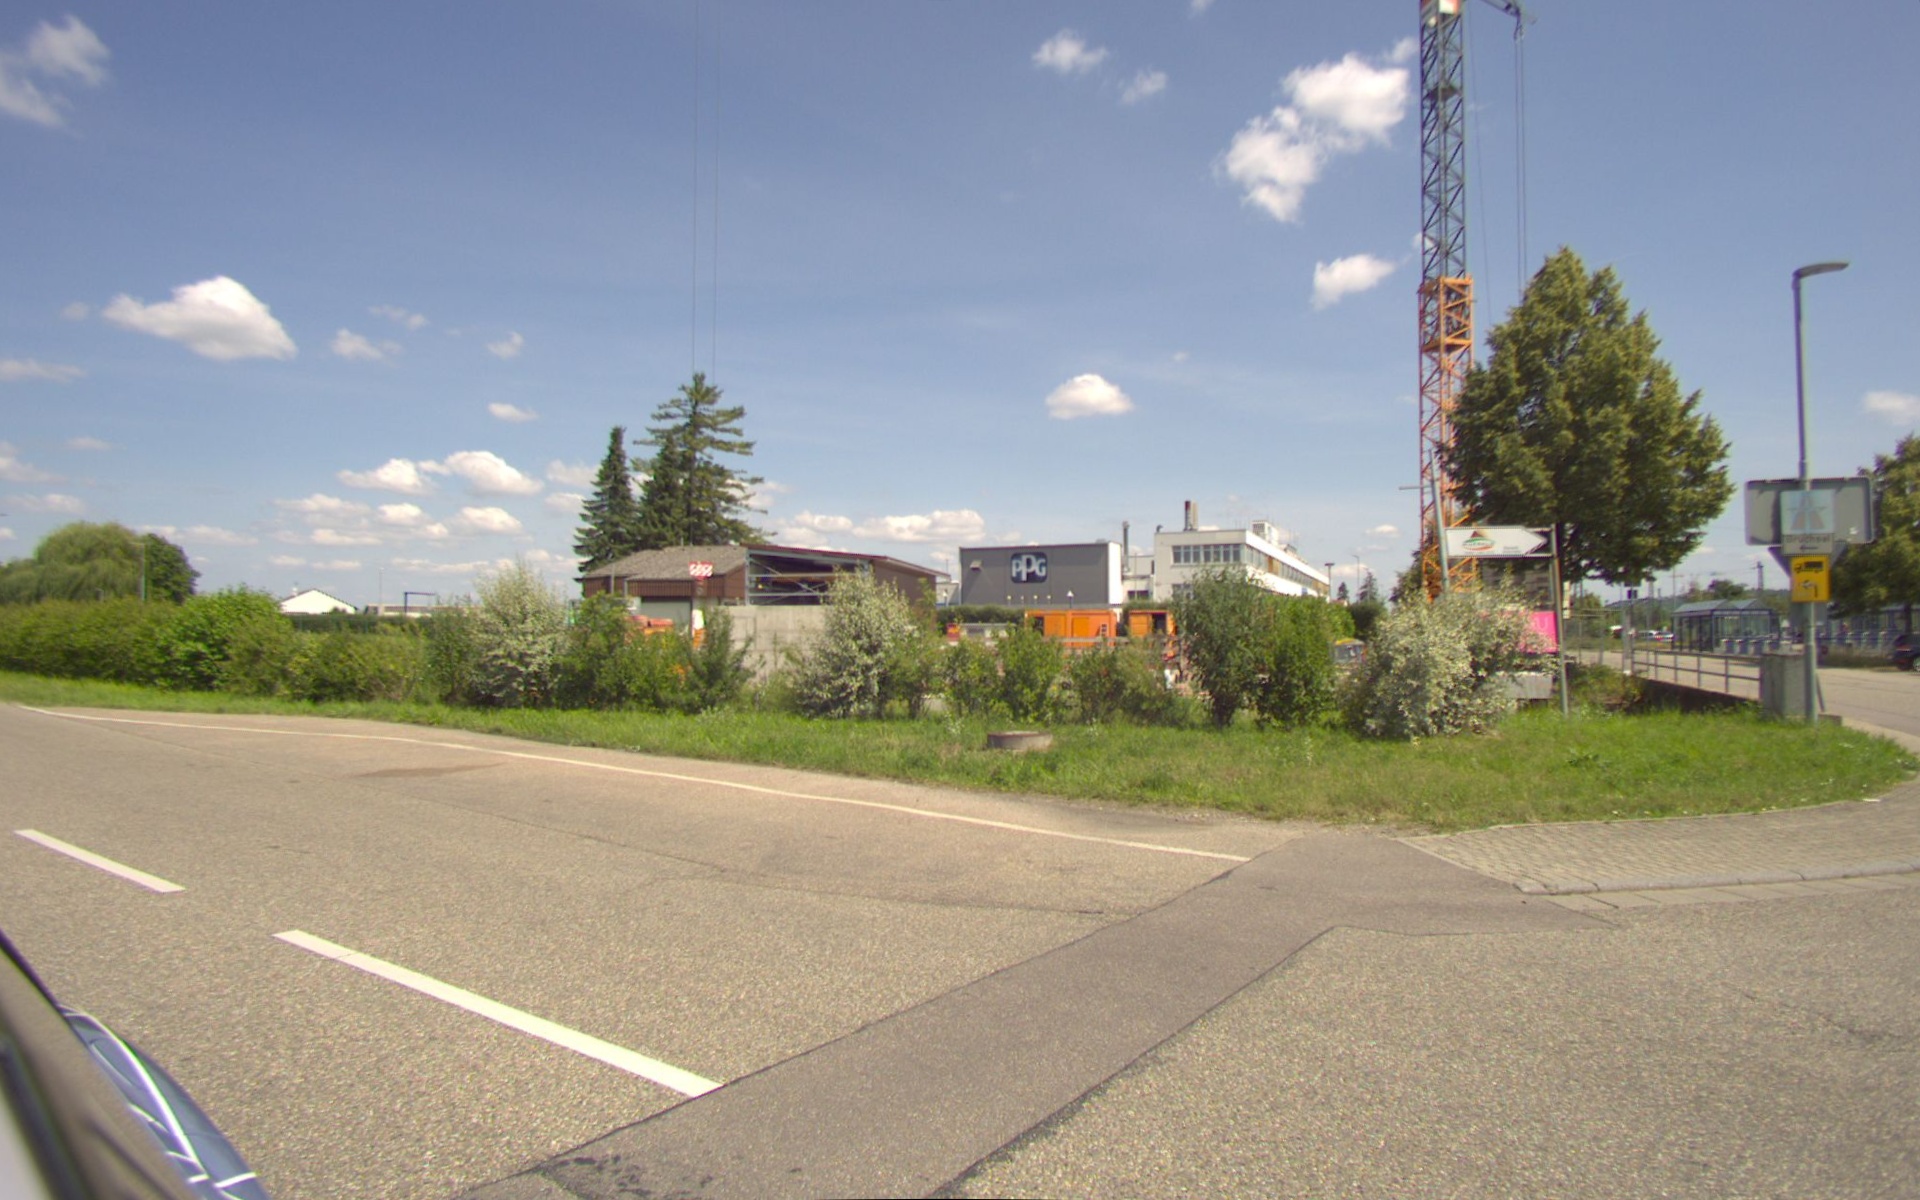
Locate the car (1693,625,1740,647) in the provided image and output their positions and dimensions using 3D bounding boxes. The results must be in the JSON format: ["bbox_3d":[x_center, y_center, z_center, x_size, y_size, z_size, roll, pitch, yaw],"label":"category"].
[{"bbox_3d":[52.020,2.465,69.619,1.763,1.475,3.966,-2,-2,25],"label":"car"}]

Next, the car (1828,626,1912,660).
[{"bbox_3d":[42.372,1.988,47.219,1.763,1.475,3.966,-2,-2,25],"label":"car"}]

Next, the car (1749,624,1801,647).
[{"bbox_3d":[54.980,2.412,68.355,1.763,1.475,3.966,-2,-2,25],"label":"car"}]

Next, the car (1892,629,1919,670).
[{"bbox_3d":[36.347,1.819,37.164,1.880,1.514,3.967,-1,-2,24],"label":"car"}]
